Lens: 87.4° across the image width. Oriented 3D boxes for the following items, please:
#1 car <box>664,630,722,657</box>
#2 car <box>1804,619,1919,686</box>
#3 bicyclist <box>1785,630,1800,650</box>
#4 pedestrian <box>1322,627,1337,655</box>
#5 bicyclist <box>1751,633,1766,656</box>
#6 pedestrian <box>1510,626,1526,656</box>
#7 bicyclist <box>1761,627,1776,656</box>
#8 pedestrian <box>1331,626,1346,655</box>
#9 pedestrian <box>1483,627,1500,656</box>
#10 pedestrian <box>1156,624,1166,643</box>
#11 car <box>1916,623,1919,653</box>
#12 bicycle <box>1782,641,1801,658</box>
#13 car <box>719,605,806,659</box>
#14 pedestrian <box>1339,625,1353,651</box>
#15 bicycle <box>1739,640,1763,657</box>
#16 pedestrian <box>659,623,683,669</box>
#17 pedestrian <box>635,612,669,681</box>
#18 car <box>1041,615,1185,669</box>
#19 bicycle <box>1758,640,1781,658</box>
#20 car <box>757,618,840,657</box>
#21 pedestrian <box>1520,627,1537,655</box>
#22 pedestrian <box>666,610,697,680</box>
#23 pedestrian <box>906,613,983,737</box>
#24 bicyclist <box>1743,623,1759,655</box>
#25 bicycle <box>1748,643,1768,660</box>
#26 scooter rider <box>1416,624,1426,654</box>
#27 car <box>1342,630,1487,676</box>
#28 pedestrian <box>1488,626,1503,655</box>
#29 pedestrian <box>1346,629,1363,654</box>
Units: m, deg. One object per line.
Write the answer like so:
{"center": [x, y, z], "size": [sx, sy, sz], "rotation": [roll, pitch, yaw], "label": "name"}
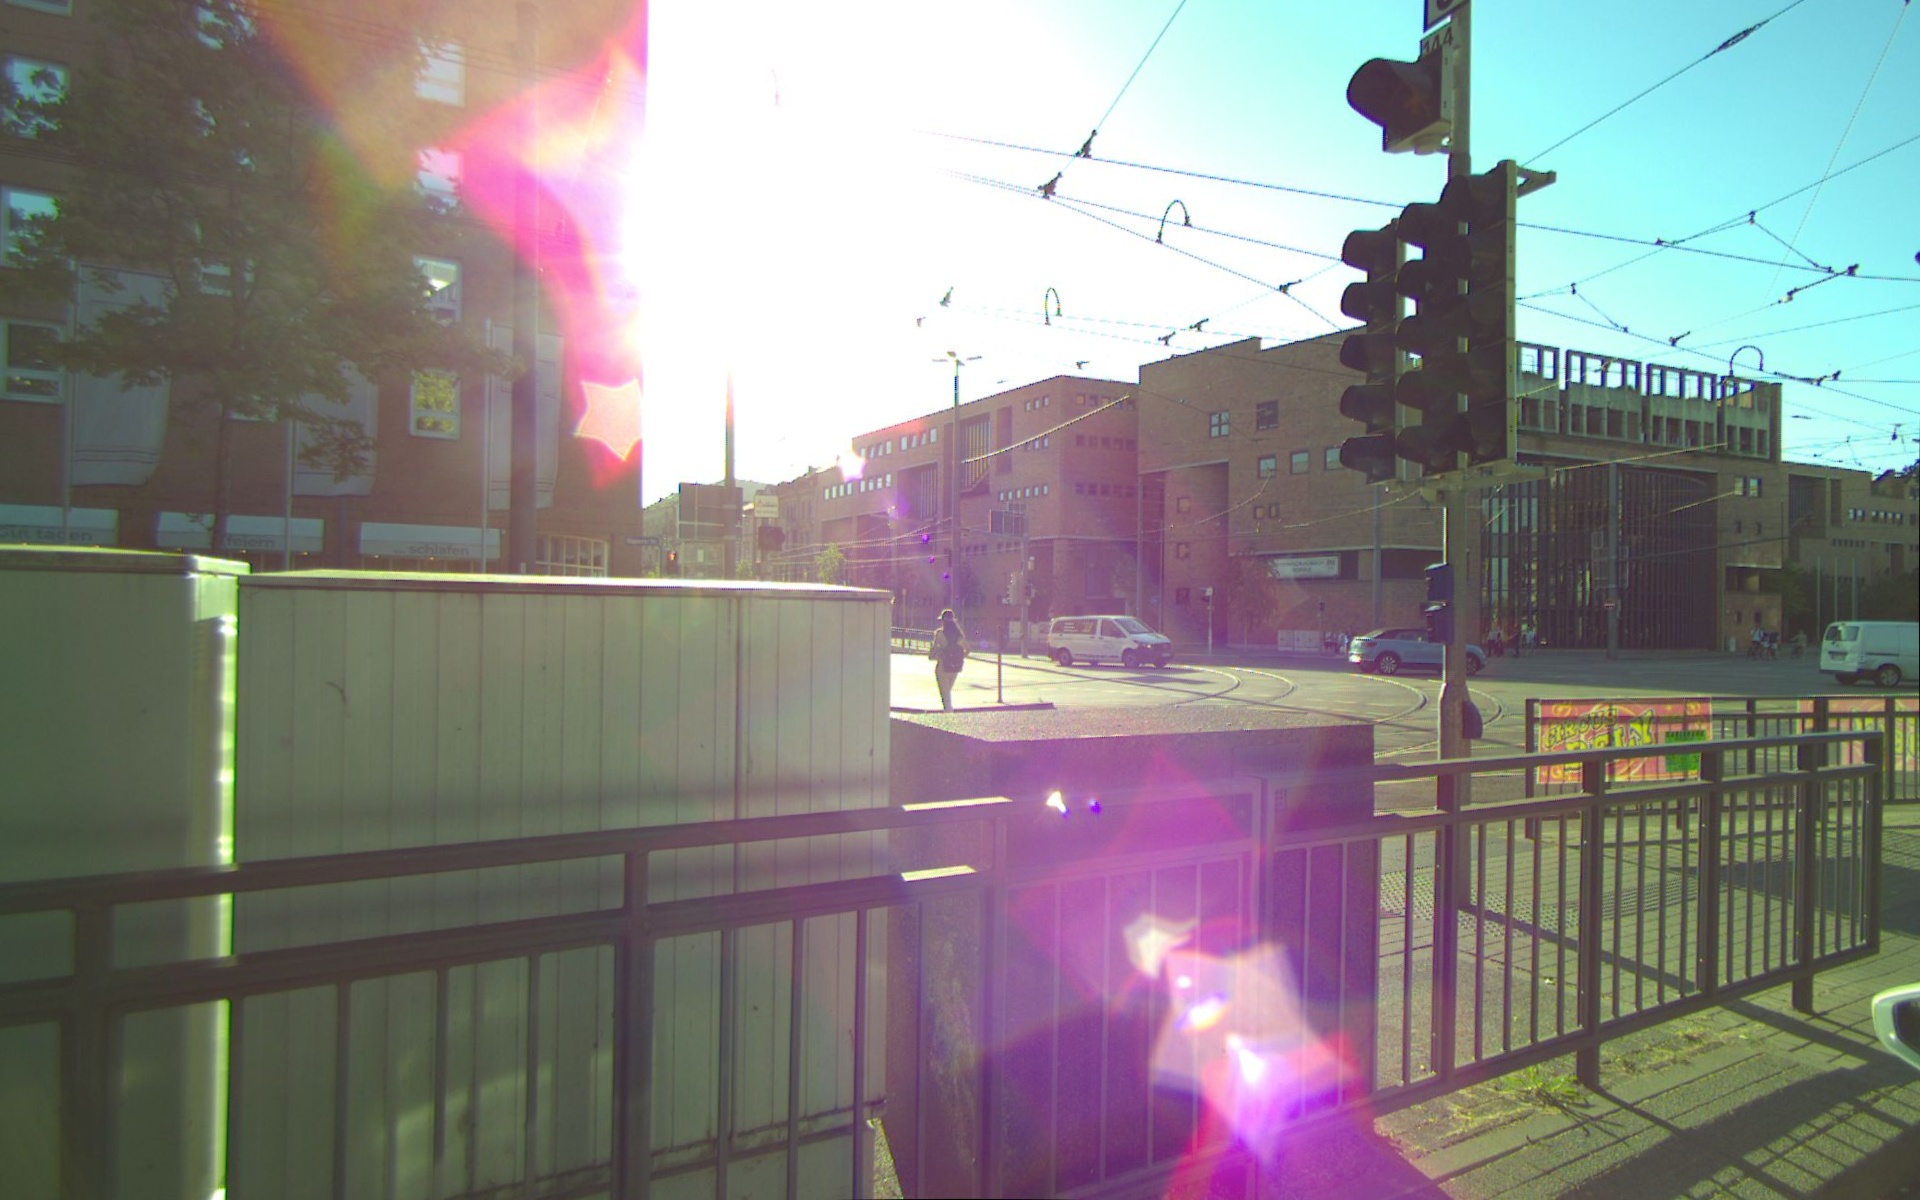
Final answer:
{"center": [-14.388, 2.308, 53.909], "size": [1.729, 1.372, 3.960], "rotation": [1, -2, -36], "label": "car"}
{"center": [27.535, 1.512, 29.097], "size": [4.433, 1.891, 1.763], "rotation": [0, -1, 9], "label": "car"}
{"center": [49.398, 2.359, 59.579], "size": [0.574, 1.194, 0.503], "rotation": [1, -1, -30], "label": "bicyclist"}
{"center": [21.486, 2.369, 58.476], "size": [0.582, 1.635, 0.593], "rotation": [1, -1, -31], "label": "pedestrian"}
{"center": [46.576, 2.585, 58.613], "size": [0.574, 1.321, 0.503], "rotation": [1, -1, -30], "label": "bicyclist"}
{"center": [31.584, 2.317, 56.900], "size": [0.544, 1.706, 0.588], "rotation": [1, -1, -27], "label": "pedestrian"}
{"center": [44.959, 2.303, 55.864], "size": [0.574, 1.624, 0.456], "rotation": [1, -1, -30], "label": "bicyclist"}
{"center": [21.710, 2.321, 57.560], "size": [0.543, 1.670, 0.596], "rotation": [1, -1, -30], "label": "pedestrian"}
{"center": [30.820, 2.397, 58.240], "size": [0.611, 1.706, 0.650], "rotation": [1, -1, -8], "label": "pedestrian"}
{"center": [15.950, 2.623, 79.589], "size": [0.586, 1.482, 0.527], "rotation": [1, -1, -42], "label": "pedestrian"}
{"center": [55.243, 2.109, 55.889], "size": [3.954, 1.661, 1.983], "rotation": [1, -2, -31], "label": "car"}
{"center": [49.325, 2.952, 59.577], "size": [1.332, 0.976, 0.449], "rotation": [1, -1, -30], "label": "bicycle"}
{"center": [-9.482, 1.508, 47.969], "size": [1.982, 2.419, 5.156], "rotation": [1, -2, -38], "label": "car"}
{"center": [22.550, 2.222, 58.661], "size": [0.611, 1.473, 0.562], "rotation": [2, -2, -45], "label": "pedestrian"}
{"center": [44.410, 2.716, 56.379], "size": [1.568, 0.976, 0.539], "rotation": [1, -1, -30], "label": "bicycle"}
{"center": [-10.523, 1.673, 36.543], "size": [0.658, 1.669, 0.638], "rotation": [1, -1, -34], "label": "pedestrian"}
{"center": [-8.373, 1.247, 27.311], "size": [0.713, 1.837, 0.904], "rotation": [1, -1, -28], "label": "pedestrian"}
{"center": [5.581, 1.515, 37.300], "size": [1.953, 1.873, 5.264], "rotation": [2, -2, -42], "label": "car"}
{"center": [44.987, 2.715, 55.823], "size": [1.557, 0.976, 0.470], "rotation": [1, -1, -30], "label": "bicycle"}
{"center": [-8.352, 1.898, 51.696], "size": [1.982, 1.928, 5.156], "rotation": [1, -2, -38], "label": "car"}
{"center": [32.957, 2.369, 58.230], "size": [0.611, 1.647, 0.607], "rotation": [1, -1, -32], "label": "pedestrian"}
{"center": [-7.674, 1.227, 27.637], "size": [0.647, 1.864, 0.835], "rotation": [1, -1, -28], "label": "pedestrian"}
{"center": [-0.232, 1.025, 14.172], "size": [0.709, 1.669, 0.953], "rotation": [1, -1, -30], "label": "pedestrian"}
{"center": [44.372, 2.196, 56.340], "size": [0.574, 1.754, 0.534], "rotation": [1, -1, -30], "label": "bicyclist"}
{"center": [46.579, 3.025, 58.621], "size": [1.304, 0.976, 0.465], "rotation": [1, -1, -30], "label": "bicycle"}
{"center": [25.410, 2.156, 55.366], "size": [0.429, 1.669, 0.229], "rotation": [0, -1, 15], "label": "scooter rider"}
{"center": [14.918, 1.725, 33.113], "size": [4.021, 1.445, 1.633], "rotation": [0, -1, 2], "label": "car"}
{"center": [31.620, 2.366, 59.312], "size": [0.543, 1.706, 0.569], "rotation": [1, -1, -30], "label": "pedestrian"}
{"center": [22.245, 2.333, 56.697], "size": [0.670, 1.357, 0.603], "rotation": [1, -1, -14], "label": "pedestrian"}
